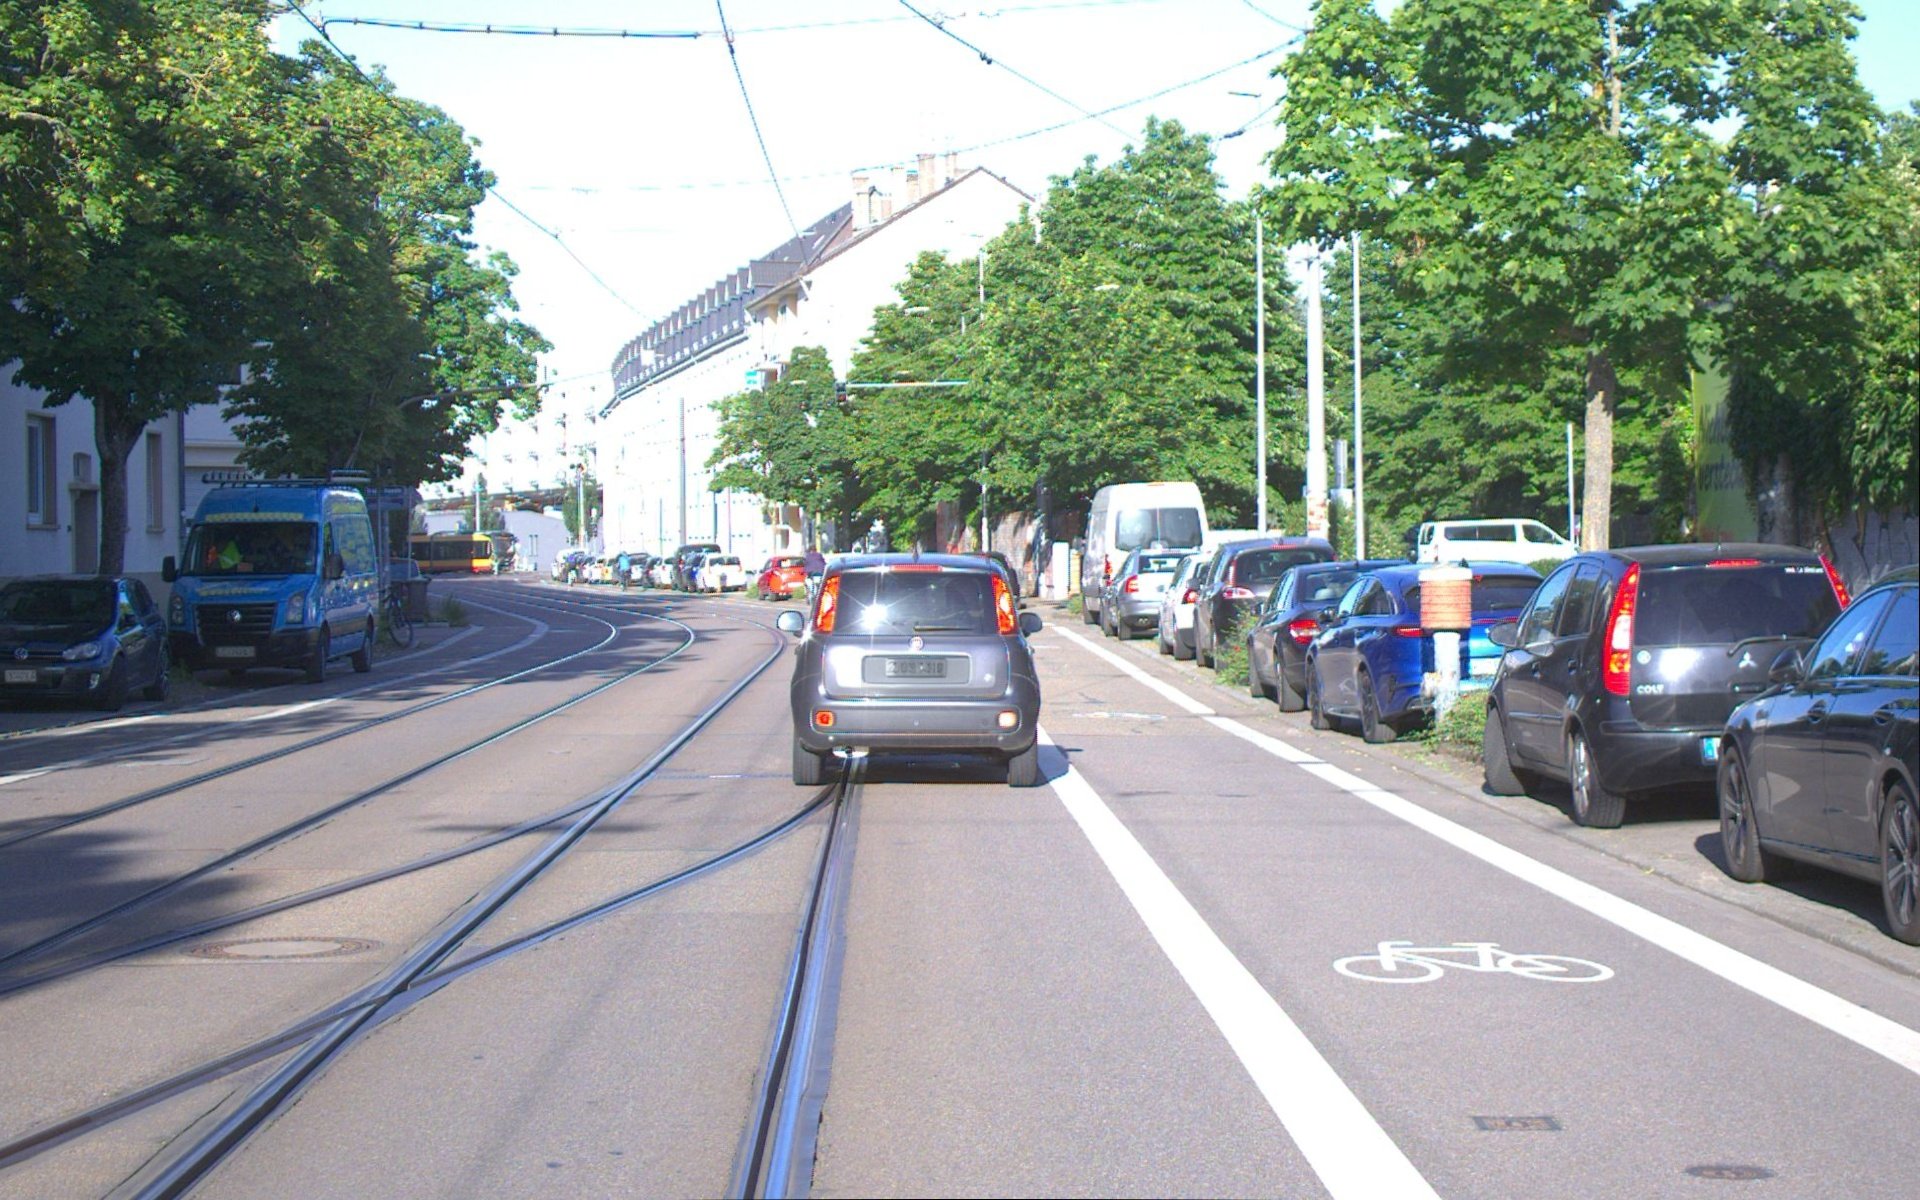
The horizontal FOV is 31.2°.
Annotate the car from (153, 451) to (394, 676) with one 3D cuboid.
[{"bbox_3d":[-9.139,-0.491,46.276,2.017,2.816,6.032,0,1,0],"label":"car"}]

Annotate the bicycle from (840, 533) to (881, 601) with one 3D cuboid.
[{"bbox_3d":[-2.575,-0.852,89.108,0.675,1.741,2.158,0,1,-12],"label":"bicycle"}]

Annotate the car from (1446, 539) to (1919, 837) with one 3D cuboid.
[{"bbox_3d":[4.135,0.439,20.057,1.824,1.487,3.815,-3,1,-3],"label":"car"}]

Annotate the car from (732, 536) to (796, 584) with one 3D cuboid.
[{"bbox_3d":[-6.519,-1.334,114.332,1.635,1.503,3.398,-3,1,-10],"label":"car"}]

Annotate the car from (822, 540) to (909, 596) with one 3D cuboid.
[{"bbox_3d":[-2.756,-0.926,99.711,1.688,1.525,4.001,-2,1,-13],"label":"car"}]

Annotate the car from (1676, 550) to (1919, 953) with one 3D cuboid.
[{"bbox_3d":[4.352,0.517,14.066,1.824,1.447,4.642,-1,1,0],"label":"car"}]

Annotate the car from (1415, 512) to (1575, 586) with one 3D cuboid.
[{"bbox_3d":[15.746,-1.510,101.327,4.279,2.007,1.774,-2,1,-6],"label":"car"}]

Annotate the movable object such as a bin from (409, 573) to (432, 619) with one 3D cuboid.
[{"bbox_3d":[-11.785,-0.093,75.158,0.484,0.984,0.660,0,1,-8],"label":"movable object such as a bin"}]

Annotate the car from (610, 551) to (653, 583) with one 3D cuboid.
[{"bbox_3d":[-15.504,-1.581,162.268,1.582,1.400,3.377,-4,2,-12],"label":"car"}]

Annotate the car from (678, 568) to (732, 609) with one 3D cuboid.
[{"bbox_3d":[-10.181,-0.473,136.841,1.655,1.566,3.877,0,1,-12],"label":"car"}]

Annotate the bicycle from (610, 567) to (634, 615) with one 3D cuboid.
[{"bbox_3d":[-14.489,-0.395,147.313,0.741,2.007,2.812,0,1,-12],"label":"bicycle"}]

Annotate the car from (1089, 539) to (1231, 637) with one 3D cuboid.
[{"bbox_3d":[3.285,-0.226,57.154,1.910,1.524,4.601,-1,1,-2],"label":"car"}]

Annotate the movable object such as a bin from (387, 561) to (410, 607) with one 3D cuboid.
[{"bbox_3d":[-12.269,-0.352,75.140,0.484,0.984,0.660,0,1,-8],"label":"movable object such as a bin"}]

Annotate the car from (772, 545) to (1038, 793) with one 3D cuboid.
[{"bbox_3d":[-0.389,0.404,23.778,1.650,1.536,4.235,1,1,-1],"label":"car"}]

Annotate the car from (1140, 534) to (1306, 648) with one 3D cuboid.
[{"bbox_3d":[3.627,-0.145,48.051,1.727,1.507,4.252,0,1,-4],"label":"car"}]

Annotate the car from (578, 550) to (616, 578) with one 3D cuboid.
[{"bbox_3d":[-18.442,-1.816,174.576,1.582,1.400,3.377,0,1,-12],"label":"car"}]

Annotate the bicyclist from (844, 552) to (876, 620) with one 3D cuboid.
[{"bbox_3d":[-2.594,-0.366,89.160,0.699,1.753,0.758,0,0,-12],"label":"bicyclist"}]

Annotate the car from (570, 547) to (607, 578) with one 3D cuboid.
[{"bbox_3d":[-19.494,-1.962,180.314,1.582,1.593,3.377,0,1,-12],"label":"car"}]

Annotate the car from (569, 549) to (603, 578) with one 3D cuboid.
[{"bbox_3d":[-20.990,-2.044,192.942,1.582,1.593,3.377,0,1,-12],"label":"car"}]

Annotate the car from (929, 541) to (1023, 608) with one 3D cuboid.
[{"bbox_3d":[0.356,-0.637,83.157,1.688,1.525,4.001,-2,1,-8],"label":"car"}]

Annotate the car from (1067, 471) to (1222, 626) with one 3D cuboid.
[{"bbox_3d":[3.374,-0.947,63.995,2.180,2.656,6.092,-3,1,-2],"label":"car"}]

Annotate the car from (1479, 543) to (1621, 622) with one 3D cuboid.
[{"bbox_3d":[8.037,-0.250,47.049,1.309,1.030,3.057,0,1,-2],"label":"car"}]

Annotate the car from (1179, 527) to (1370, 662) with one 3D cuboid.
[{"bbox_3d":[3.898,-0.095,43.269,1.727,1.599,4.343,0,1,-4],"label":"car"}]

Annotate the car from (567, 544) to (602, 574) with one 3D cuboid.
[{"bbox_3d":[-20.349,-2.233,186.265,1.582,1.593,3.377,0,1,-12],"label":"car"}]

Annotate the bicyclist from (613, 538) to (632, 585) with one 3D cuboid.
[{"bbox_3d":[-14.474,-1.656,147.261,0.715,2.007,0.832,0,0,-12],"label":"bicyclist"}]

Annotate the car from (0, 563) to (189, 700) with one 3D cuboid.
[{"bbox_3d":[-9.865,0.312,38.285,1.651,1.420,4.190,0,1,-1],"label":"car"}]

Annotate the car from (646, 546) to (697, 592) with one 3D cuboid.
[{"bbox_3d":[-12.420,-1.341,147.741,1.655,1.937,4.666,0,1,-12],"label":"car"}]

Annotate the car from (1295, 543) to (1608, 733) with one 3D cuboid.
[{"bbox_3d":[4.011,0.272,28.744,1.727,1.459,4.342,0,1,-4],"label":"car"}]

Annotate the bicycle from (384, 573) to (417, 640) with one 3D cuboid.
[{"bbox_3d":[-9.646,0.102,59.263,0.512,1.130,2.032,0,1,-8],"label":"bicycle"}]

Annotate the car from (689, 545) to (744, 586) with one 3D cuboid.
[{"bbox_3d":[-9.400,-1.343,132.487,1.655,1.566,3.500,0,1,-12],"label":"car"}]

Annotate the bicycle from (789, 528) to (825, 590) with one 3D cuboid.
[{"bbox_3d":[-4.413,-1.185,98.831,0.675,1.741,2.158,0,1,-12],"label":"bicycle"}]

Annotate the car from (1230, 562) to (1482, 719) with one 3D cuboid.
[{"bbox_3d":[3.905,0.362,34.584,1.727,1.459,4.499,0,1,-4],"label":"car"}]

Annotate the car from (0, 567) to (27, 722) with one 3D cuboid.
[{"bbox_3d":[-10.029,0.433,31.965,1.651,1.486,4.000,0,1,-1],"label":"car"}]
